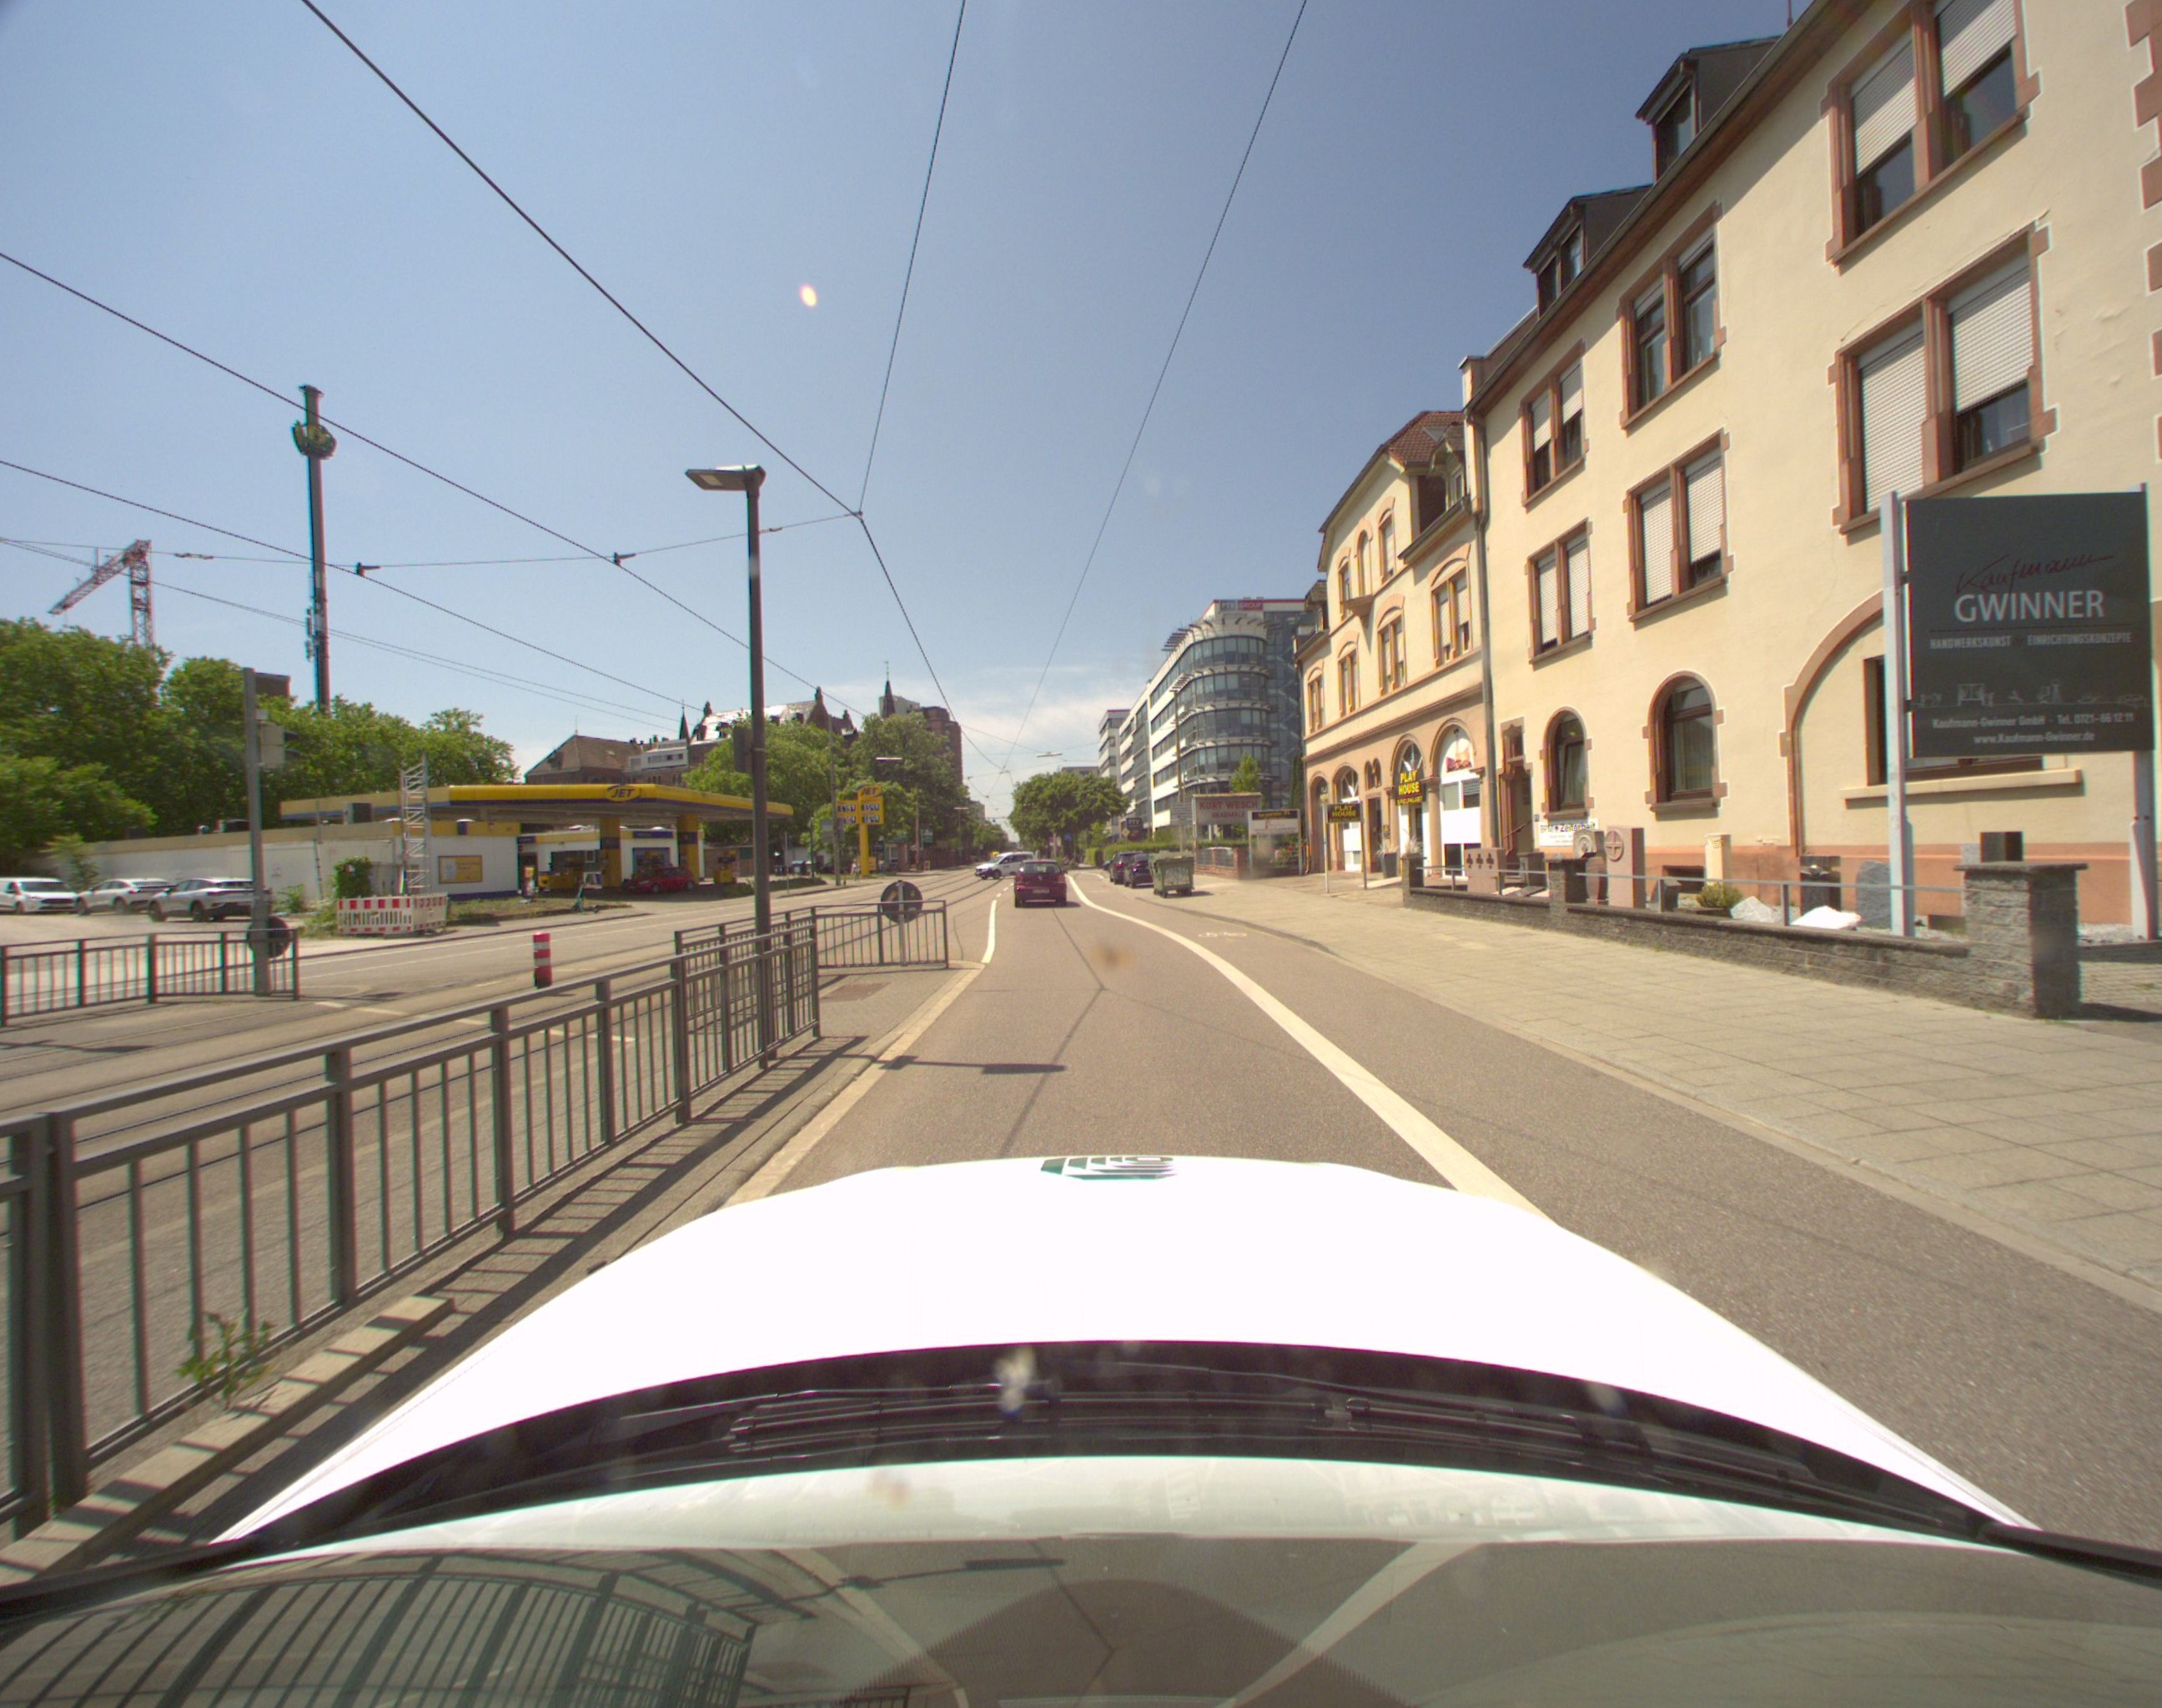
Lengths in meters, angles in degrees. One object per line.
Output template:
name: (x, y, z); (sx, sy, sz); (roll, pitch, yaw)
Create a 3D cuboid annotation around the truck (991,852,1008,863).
truck: (-22.748, 0.915, 227.974); (2.354, 2.787, 7.343); (-2, 0, 12)

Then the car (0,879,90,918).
car: (-49.355, 2.064, 38.403); (4.228, 1.663, 2.010); (-1, 0, 19)

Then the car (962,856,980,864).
car: (-27.831, 1.519, 205.989); (3.974, 2.013, 2.000); (-2, 0, 0)

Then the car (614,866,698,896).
car: (-24.795, 1.532, 47.651); (1.810, 1.504, 4.220); (0, 2, 19)

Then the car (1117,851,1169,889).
car: (2.821, 0.733, 38.256); (1.769, 1.548, 4.462); (-4, 0, -3)

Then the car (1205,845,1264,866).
car: (11.656, 0.121, 62.031); (4.136, 1.459, 1.817); (-2, 0, -1)

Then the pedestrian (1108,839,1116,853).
pedestrian: (3.878, -0.993, 101.605); (0.869, 1.715, 1.091); (-4, -1, 5)

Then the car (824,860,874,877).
car: (-22.767, 1.421, 80.098); (1.910, 1.488, 4.480); (-1, 0, 36)

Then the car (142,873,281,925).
car: (-31.872, 1.595, 29.862); (4.228, 1.746, 1.901); (-1, 0, 19)

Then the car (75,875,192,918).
car: (-42.578, 1.896, 36.605); (4.228, 1.781, 2.010); (-1, 0, 19)

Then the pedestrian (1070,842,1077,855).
pedestrian: (-1.033, -0.722, 112.257); (0.683, 1.796, 0.667); (-4, 0, -35)

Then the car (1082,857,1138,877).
car: (2.260, 0.989, 62.714); (3.881, 1.372, 1.712); (-3, -1, 20)

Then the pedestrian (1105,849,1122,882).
pedestrian: (1.920, 0.681, 48.540); (0.783, 1.960, 0.586); (-2, 0, -19)

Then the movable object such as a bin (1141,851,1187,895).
movable object such as a bin: (2.955, 0.658, 29.037); (1.322, 1.455, 1.055); (-4, 0, -7)

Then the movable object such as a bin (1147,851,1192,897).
movable object such as a bin: (3.024, 0.658, 27.976); (1.246, 1.455, 1.055); (-4, 0, -7)

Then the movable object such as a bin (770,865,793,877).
movable object such as a bin: (-29.453, 1.676, 80.094); (1.392, 1.138, 1.572); (-1, 0, 20)

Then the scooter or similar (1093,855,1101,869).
scooter or similar: (1.388, 0.689, 70.988); (0.323, 1.222, 1.157); (-1, 0, 17)

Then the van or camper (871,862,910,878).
van or camper: (-20.753, 1.729, 88.766); (3.777, 1.629, 1.869); (-1, 1, -4)

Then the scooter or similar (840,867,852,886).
scooter or similar: (-15.648, 1.507, 54.147); (0.518, 1.200, 1.373); (-1, 0, -6)

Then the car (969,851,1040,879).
car: (-5.306, 0.740, 56.846); (4.575, 1.799, 1.977); (-2, 0, -38)

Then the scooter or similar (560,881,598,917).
scooter or similar: (-18.611, 1.655, 30.198); (0.342, 1.264, 1.248); (-1, 0, 21)

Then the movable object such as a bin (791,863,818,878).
movable object such as a bin: (-27.076, 1.580, 79.699); (1.508, 1.432, 2.110); (-1, 0, 20)

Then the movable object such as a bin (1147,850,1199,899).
movable object such as a bin: (3.032, 0.660, 26.860); (1.391, 1.455, 1.136); (-4, 0, -7)

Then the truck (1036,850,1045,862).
truck: (-9.160, 0.398, 183.556); (1.990, 2.662, 4.868); (-1, 0, -4)

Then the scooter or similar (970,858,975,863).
scooter or similar: (-23.892, 1.363, 179.457); (1.094, 1.155, 0.523); (-1, 0, -25)

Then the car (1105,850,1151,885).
car: (2.503, 0.688, 44.625); (1.920, 1.693, 5.077); (-4, 0, -3)

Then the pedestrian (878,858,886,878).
pedestrian: (-17.375, 1.236, 71.227); (0.579, 1.775, 0.698); (-1, 0, -7)

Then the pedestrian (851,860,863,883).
pedestrian: (-16.664, 1.281, 60.569); (0.622, 1.691, 0.723); (-2, 0, 4)

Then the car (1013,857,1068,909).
car: (-1.266, 0.866, 26.253); (1.615, 1.486, 3.997); (-1, 0, -2)

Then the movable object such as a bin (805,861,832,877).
movable object such as a bin: (-25.498, 1.452, 79.255); (1.508, 1.509, 2.110); (-1, 0, 20)
